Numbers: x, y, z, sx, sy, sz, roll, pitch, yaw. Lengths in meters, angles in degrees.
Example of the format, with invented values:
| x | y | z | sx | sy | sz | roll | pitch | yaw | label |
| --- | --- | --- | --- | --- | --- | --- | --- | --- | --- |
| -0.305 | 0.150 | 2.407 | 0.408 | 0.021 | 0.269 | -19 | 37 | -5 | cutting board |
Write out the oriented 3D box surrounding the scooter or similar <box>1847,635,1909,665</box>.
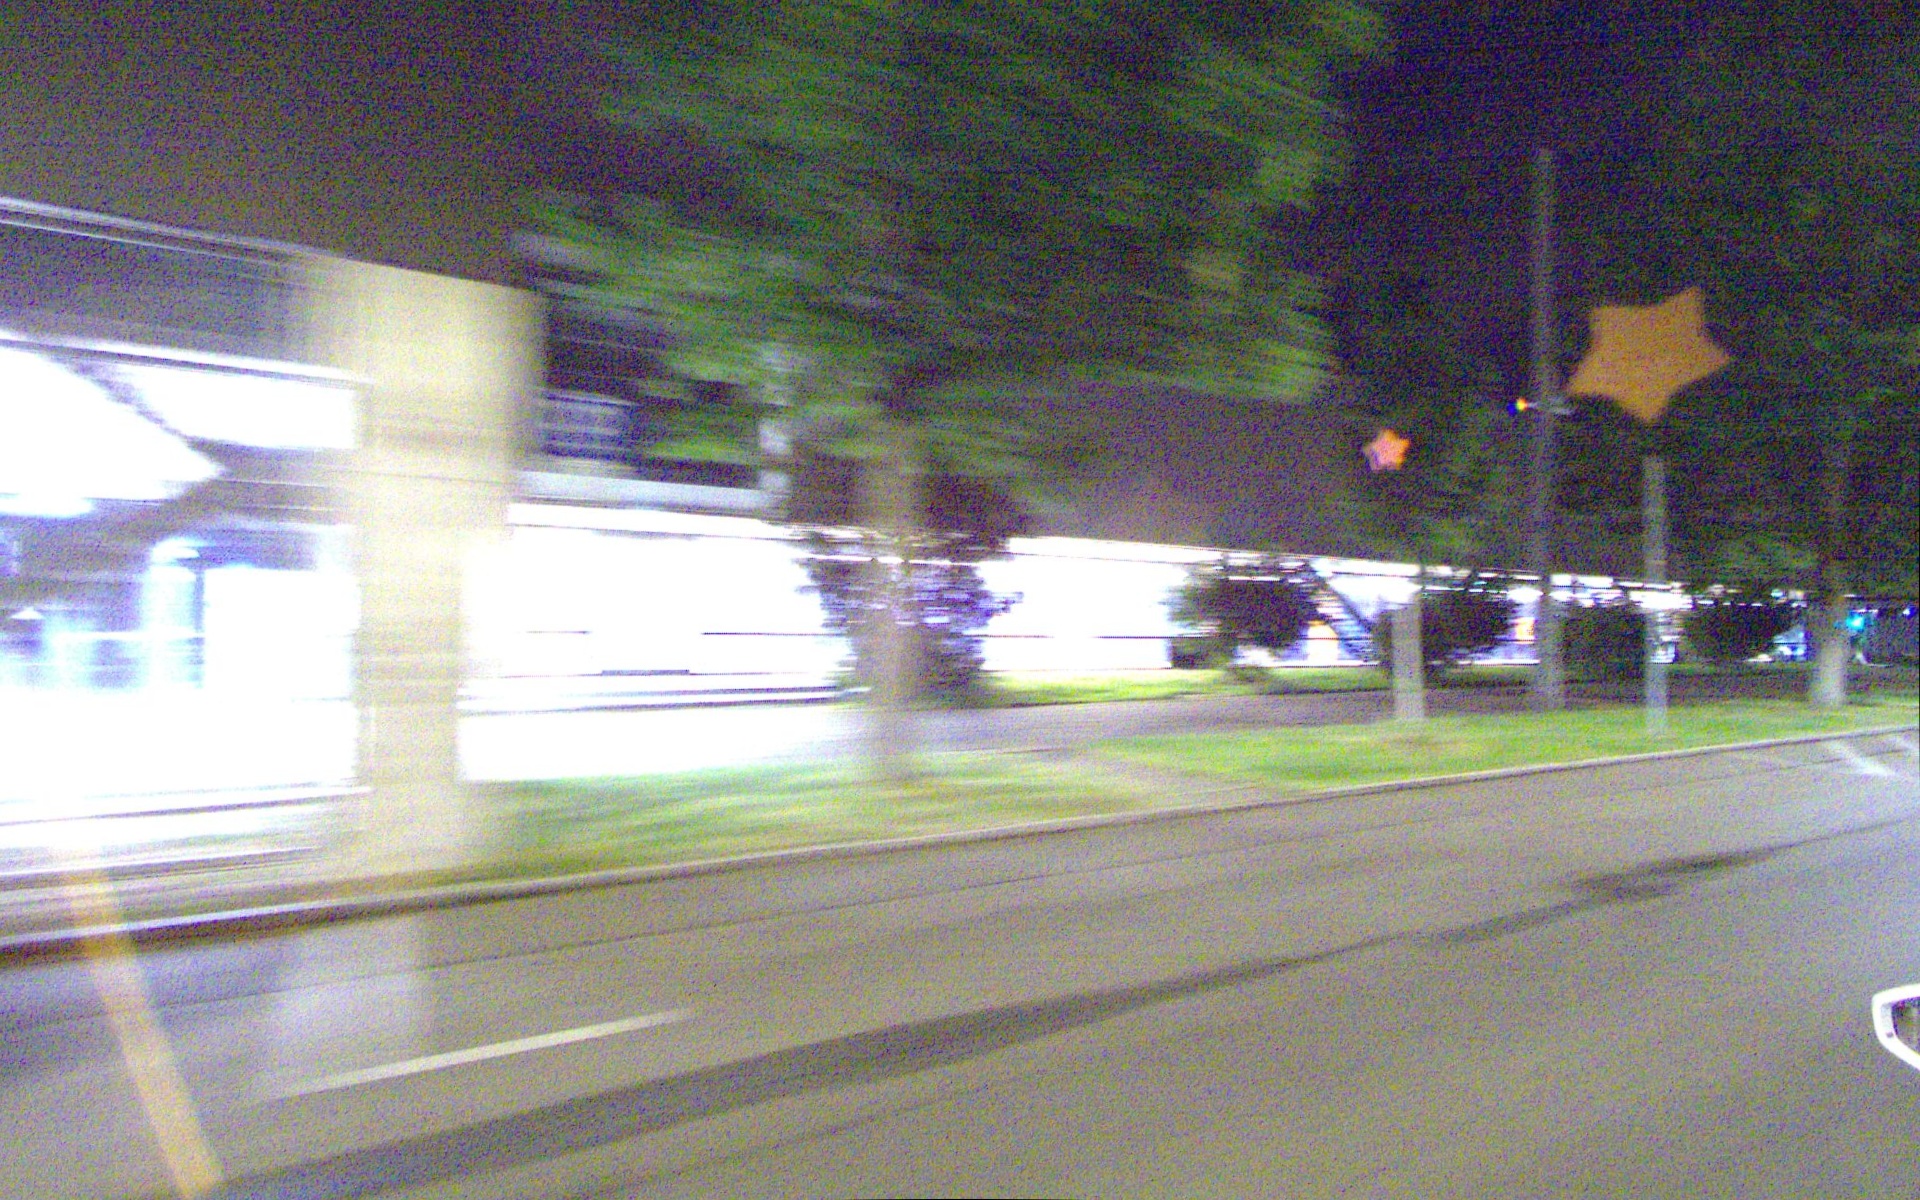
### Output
| x | y | z | sx | sy | sz | roll | pitch | yaw | label |
| --- | --- | --- | --- | --- | --- | --- | --- | --- | --- |
| 35.254 | 1.914 | 38.603 | 0.537 | 1.021 | 1.667 | 1 | 1 | -27 | scooter or similar |
